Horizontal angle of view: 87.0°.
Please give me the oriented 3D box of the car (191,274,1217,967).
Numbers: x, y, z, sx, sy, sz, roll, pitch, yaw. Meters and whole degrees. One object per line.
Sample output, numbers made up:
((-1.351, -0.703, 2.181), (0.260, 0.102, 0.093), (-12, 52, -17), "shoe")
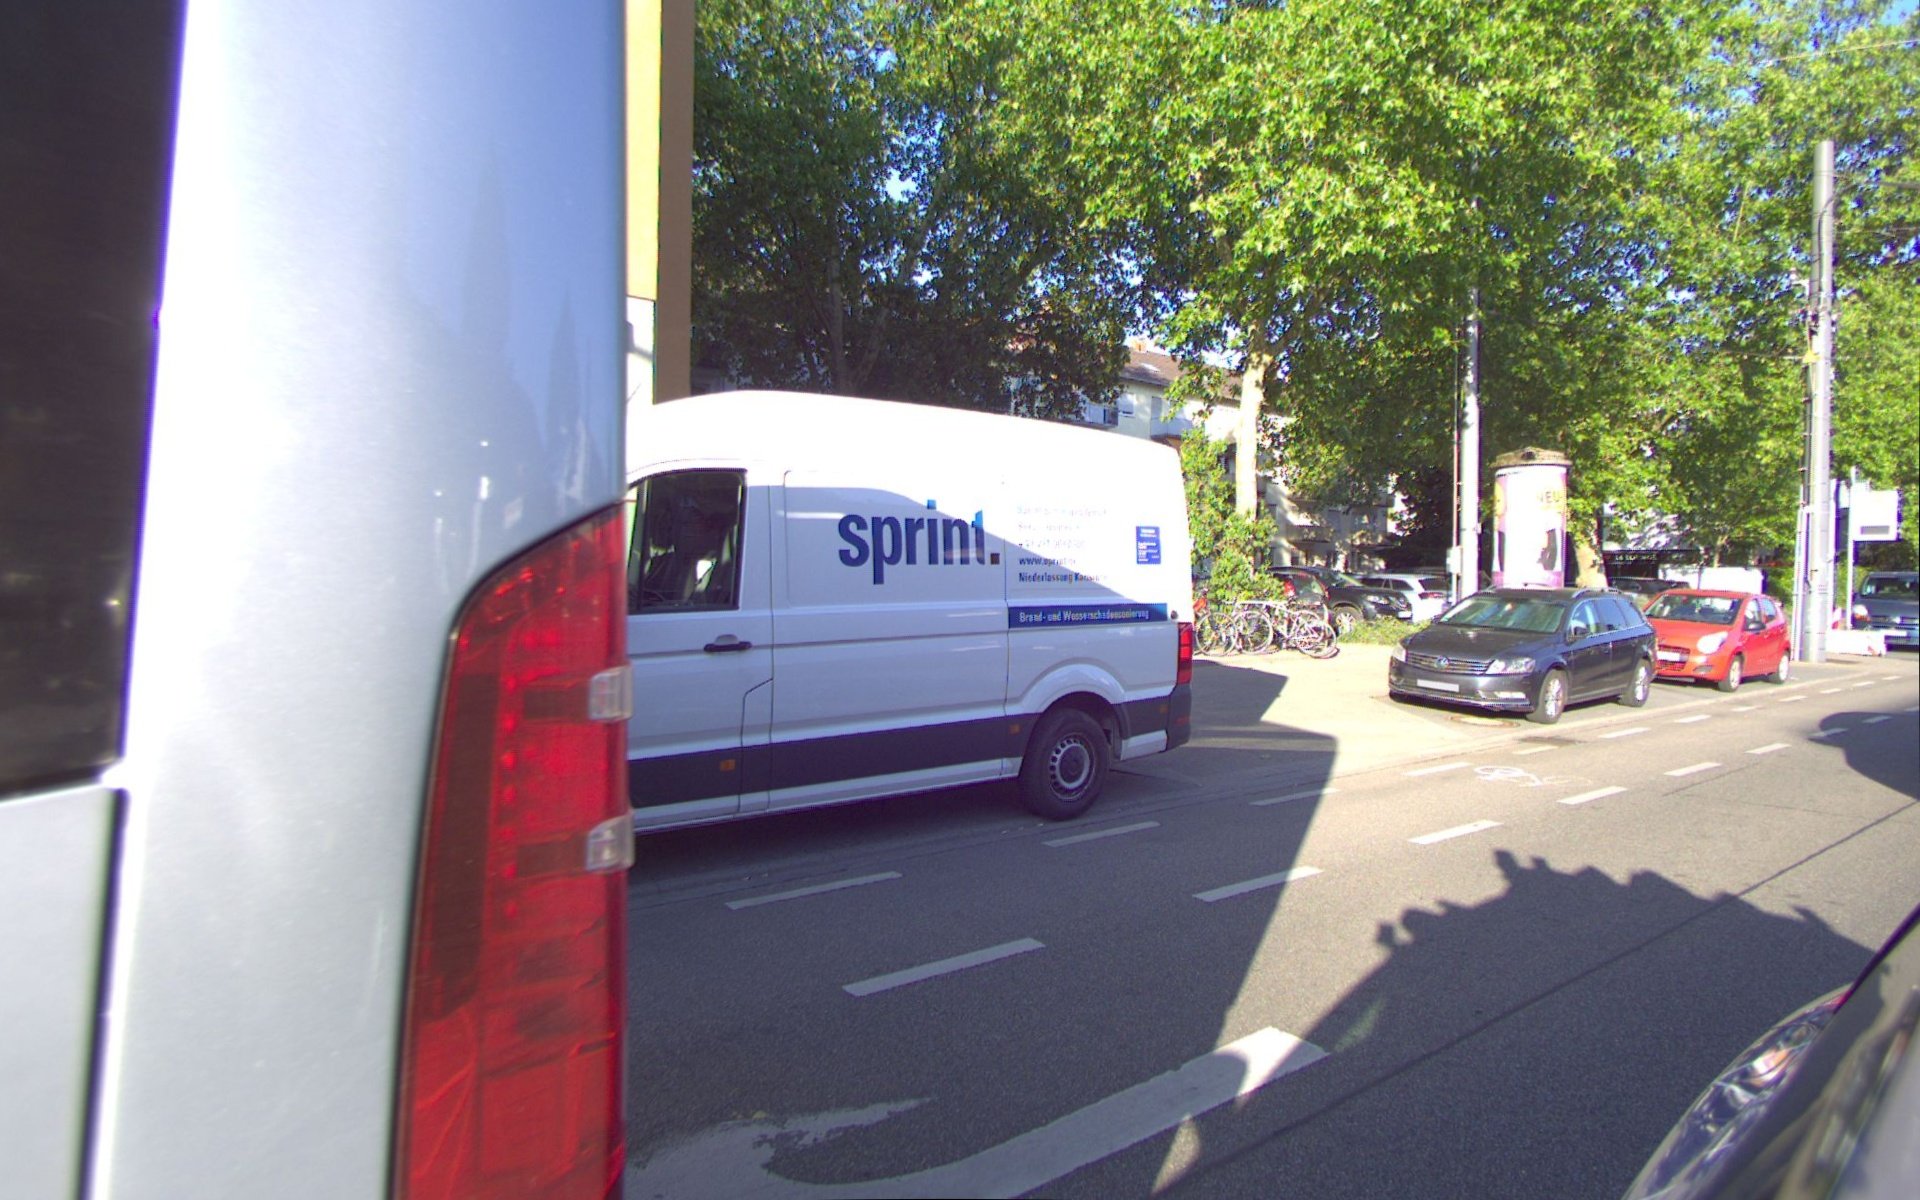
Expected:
((-1.144, -0.012, 6.253), (5.676, 2.581, 2.025), (-1, 5, -36), "car")

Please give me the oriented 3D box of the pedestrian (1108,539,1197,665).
((2.668, 0.015, 14.027), (0.974, 1.656, 0.660), (0, 4, -43), "pedestrian")

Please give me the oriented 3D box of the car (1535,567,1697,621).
((21.656, -0.243, 33.572), (1.768, 1.618, 4.127), (0, 2, -34), "car")

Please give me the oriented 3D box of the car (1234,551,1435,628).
((8.585, -0.190, 23.514), (1.822, 1.621, 4.032), (0, -1, -37), "car")

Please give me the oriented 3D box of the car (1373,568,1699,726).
((7.205, 0.446, 12.479), (4.565, 1.549, 1.703), (-1, 5, -36), "car")

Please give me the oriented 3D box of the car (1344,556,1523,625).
((12.308, -0.231, 26.509), (1.821, 1.652, 3.853), (0, 0, -34), "car")

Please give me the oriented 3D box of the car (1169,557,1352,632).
((6.543, -0.076, 22.276), (1.741, 1.502, 3.506), (0, -1, -37), "car")

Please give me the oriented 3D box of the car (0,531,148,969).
((-5.296, 0.529, 3.540), (3.714, 1.607, 1.845), (0, 2, -36), "car")

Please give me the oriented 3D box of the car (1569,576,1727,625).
((23.485, 0.014, 34.686), (1.768, 1.570, 4.125), (0, 0, -34), "car")

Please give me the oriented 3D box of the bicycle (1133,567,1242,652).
((3.455, 0.142, 15.359), (1.561, 1.242, 0.648), (-1, 0, 17), "bicycle")

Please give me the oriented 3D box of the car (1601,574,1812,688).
((11.712, 0.405, 15.824), (3.558, 1.512, 1.575), (-1, 4, -36), "car")

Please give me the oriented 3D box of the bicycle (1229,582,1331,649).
((5.267, 0.242, 16.746), (1.561, 1.026, 0.648), (1, 2, 17), "bicycle")

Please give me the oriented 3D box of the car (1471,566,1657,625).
((16.817, -0.182, 28.363), (1.768, 1.513, 4.127), (0, 2, -34), "car")

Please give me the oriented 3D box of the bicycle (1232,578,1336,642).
((5.546, 0.159, 17.408), (1.657, 1.026, 0.648), (1, 2, 17), "bicycle")

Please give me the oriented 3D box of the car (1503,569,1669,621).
((19.903, -0.218, 32.330), (1.768, 1.513, 4.127), (0, 2, -34), "car")

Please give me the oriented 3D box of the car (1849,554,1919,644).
((23.966, -0.050, 25.118), (4.477, 2.104, 1.891), (-1, 2, -36), "car")

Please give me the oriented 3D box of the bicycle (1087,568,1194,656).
((2.653, 0.160, 14.877), (1.499, 1.242, 0.402), (1, 1, 16), "bicycle")

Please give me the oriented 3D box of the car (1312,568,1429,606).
((17.759, -0.601, 43.922), (1.964, 1.514, 4.291), (-1, 2, -39), "car")

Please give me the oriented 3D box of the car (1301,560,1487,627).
((10.648, -0.121, 25.050), (1.821, 1.514, 3.852), (0, -1, -34), "car")

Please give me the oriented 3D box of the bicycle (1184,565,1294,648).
((4.368, 0.086, 15.915), (1.556, 1.242, 0.646), (1, 1, 8), "bicycle")

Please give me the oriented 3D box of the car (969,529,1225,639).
((2.332, -0.223, 18.436), (1.963, 1.731, 4.630), (0, -1, -36), "car")
